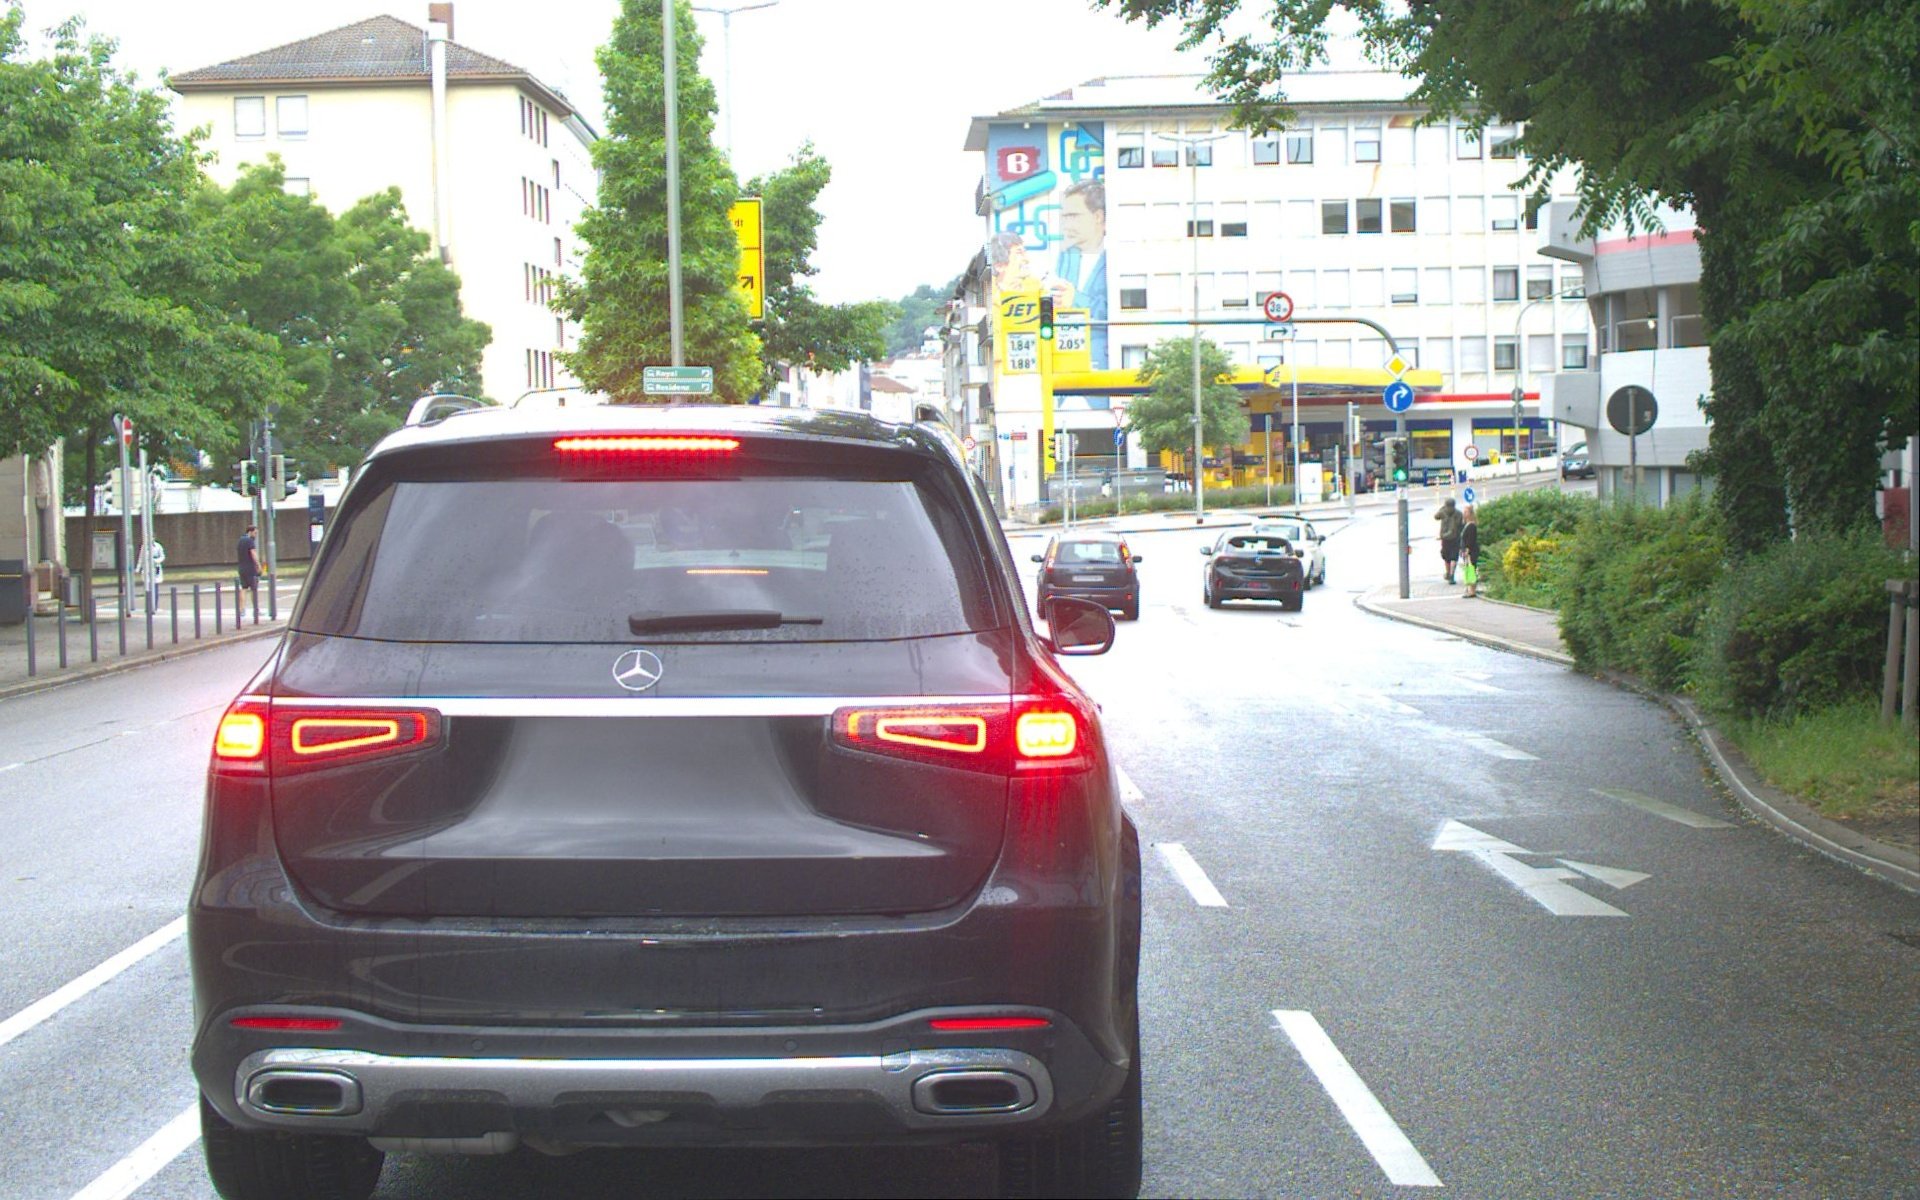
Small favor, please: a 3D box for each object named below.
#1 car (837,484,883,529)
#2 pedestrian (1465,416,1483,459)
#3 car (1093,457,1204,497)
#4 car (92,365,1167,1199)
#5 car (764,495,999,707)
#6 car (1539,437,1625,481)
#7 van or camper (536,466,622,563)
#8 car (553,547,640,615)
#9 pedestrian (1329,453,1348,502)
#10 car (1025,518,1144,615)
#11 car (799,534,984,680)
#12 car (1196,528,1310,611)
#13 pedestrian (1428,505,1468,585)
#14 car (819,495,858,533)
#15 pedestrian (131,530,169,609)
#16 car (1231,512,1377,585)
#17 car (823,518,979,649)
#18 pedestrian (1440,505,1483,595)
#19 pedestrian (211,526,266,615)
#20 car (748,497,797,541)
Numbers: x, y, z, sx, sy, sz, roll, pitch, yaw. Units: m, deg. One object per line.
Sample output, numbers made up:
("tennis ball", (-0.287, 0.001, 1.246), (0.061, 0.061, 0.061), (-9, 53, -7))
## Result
("car", (-4.695, -4.403, 161.984), (1.993, 2.007, 4.000), (1, 1, 0))
("pedestrian", (20.432, -6.459, 136.650), (0.526, 1.721, 0.688), (0, 2, 26))
("car", (7.050, -4.603, 128.532), (1.732, 1.371, 3.998), (-4, 3, -44))
("car", (-0.644, 0.451, 8.446), (1.993, 1.794, 4.000), (1, 1, -1))
("car", (-0.698, -0.011, 31.510), (1.993, 1.794, 4.000), (1, 1, -1))
("car", (25.037, -5.679, 138.286), (1.997, 1.700, 3.993), (0, 2, 33))
("van or camper", (-10.742, -2.400, 97.312), (2.101, 2.573, 5.909), (-3, 1, -4))
("car", (-8.495, -0.464, 80.526), (1.741, 1.465, 3.883), (-3, 1, -3))
("pedestrian", (13.248, -4.283, 120.309), (0.572, 1.691, 0.631), (1, 0, 1))
("car", (2.068, -0.599, 58.075), (1.796, 1.520, 4.056), (1, 2, -1))
("car", (-0.736, 0.051, 37.732), (1.907, 1.496, 4.000), (1, 1, -1))
("car", (5.411, -0.567, 63.864), (1.946, 1.481, 4.000), (1, 1, 3))
("pedestrian", (10.317, -1.155, 72.658), (0.717, 1.684, 0.456), (1, 0, -6))
("car", (-6.672, -4.706, 189.271), (1.993, 2.007, 4.000), (1, 1, 0))
("pedestrian", (-17.274, -0.657, 73.342), (0.642, 1.660, 1.019), (1, 0, -6))
("car", (7.566, -1.111, 75.296), (1.757, 1.543, 3.994), (1, 1, 28))
("car", (-0.749, -0.224, 44.284), (1.907, 1.581, 4.000), (1, 1, -1))
("pedestrian", (9.543, -0.954, 65.377), (0.646, 1.704, 0.470), (1, 0, 36))
("pedestrian", (-13.943, -0.572, 66.421), (0.946, 1.699, 0.713), (1, 0, -17))
("car", (-7.588, -3.255, 138.949), (1.905, 1.697, 4.001), (1, 1, -3))
